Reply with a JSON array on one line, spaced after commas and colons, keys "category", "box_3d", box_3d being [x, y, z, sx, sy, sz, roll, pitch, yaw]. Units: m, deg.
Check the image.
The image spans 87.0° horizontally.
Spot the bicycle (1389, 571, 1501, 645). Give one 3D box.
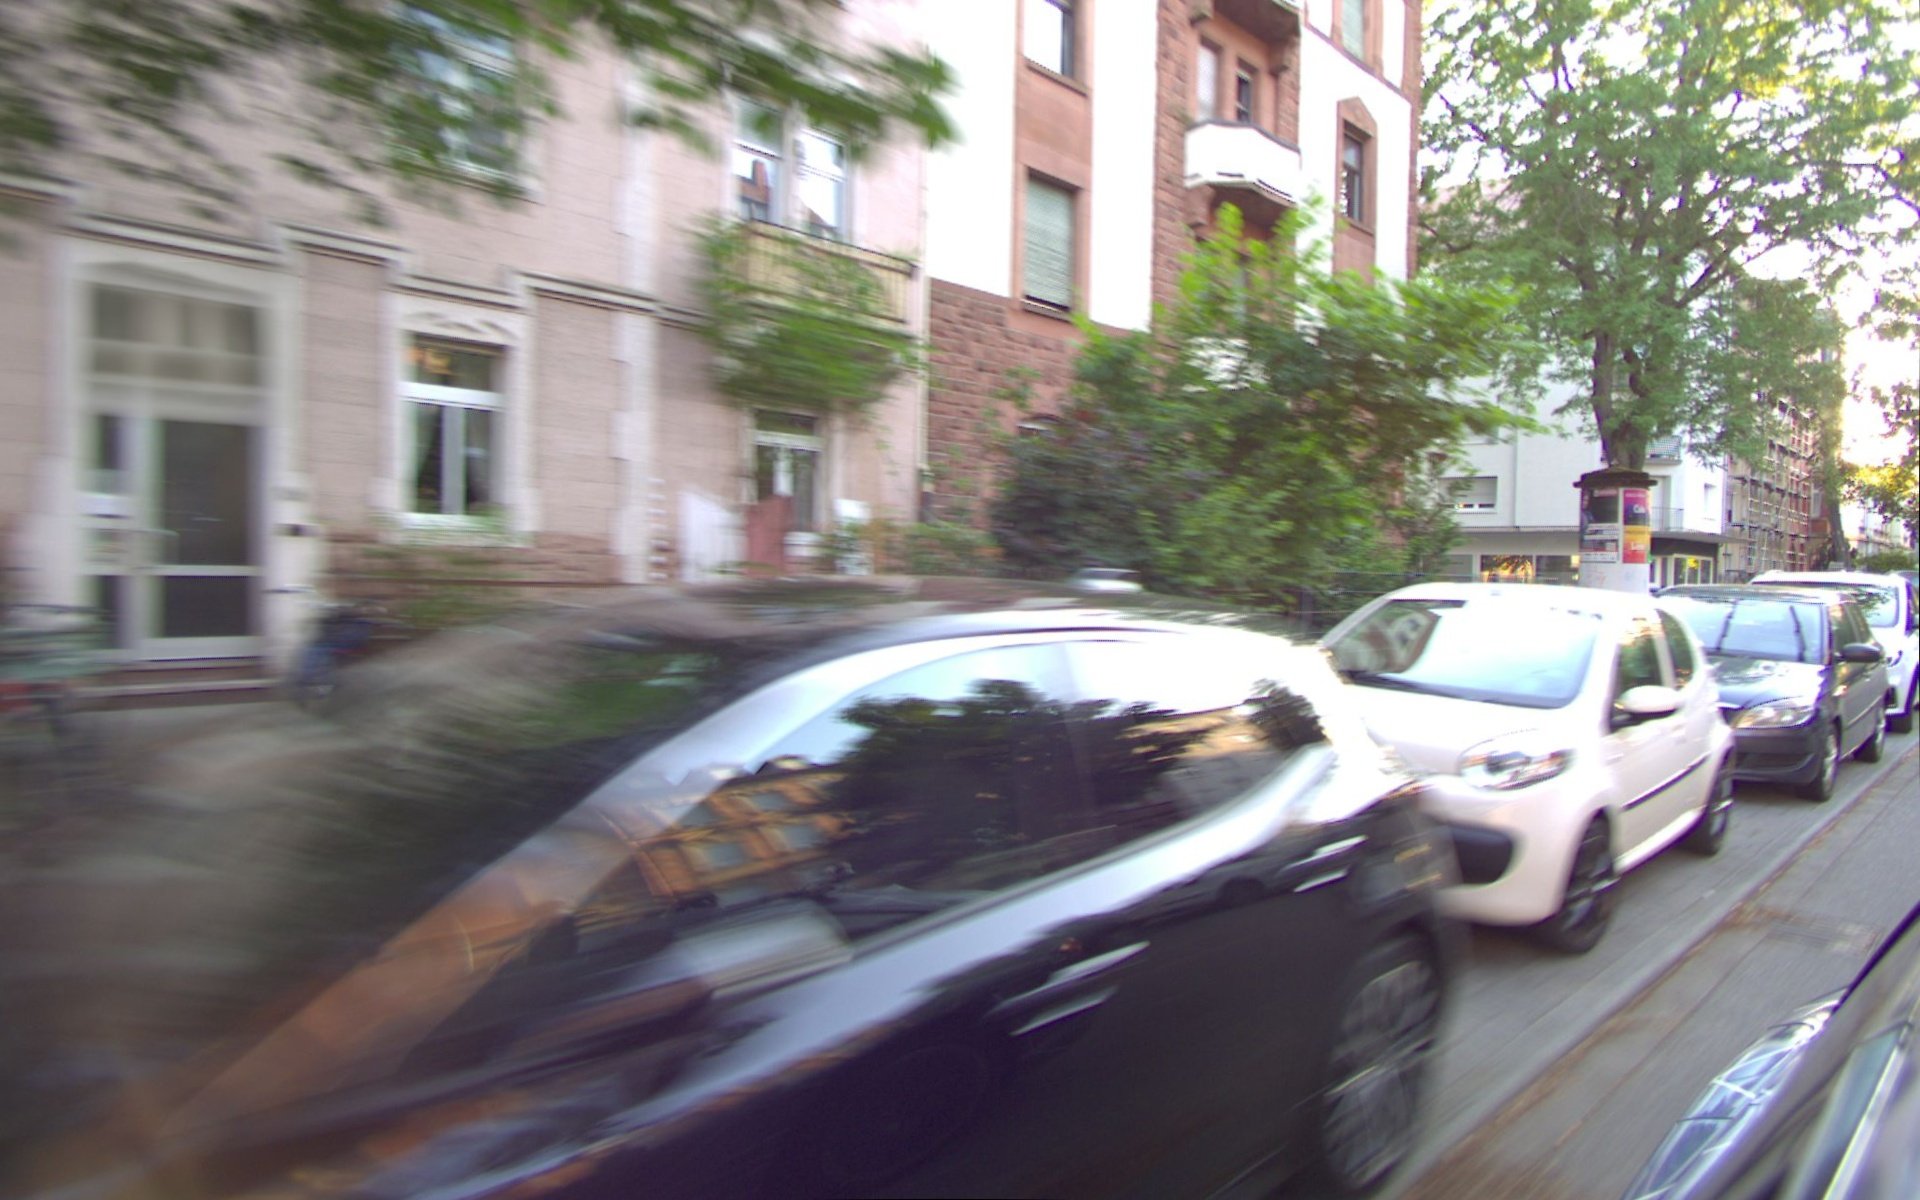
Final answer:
[{"category": "bicycle", "box_3d": [7.459, 0.111, 15.616, 0.325, 1.046, 1.512, 2, 2, -42]}]

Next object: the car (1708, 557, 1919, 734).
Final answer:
[{"category": "car", "box_3d": [10.539, 0.389, 12.091, 4.525, 1.732, 1.800, -1, 3, -44]}]

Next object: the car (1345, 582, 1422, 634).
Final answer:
[{"category": "car", "box_3d": [13.084, 0.190, 31.185, 1.668, 1.496, 3.394, 1, 1, 32]}]

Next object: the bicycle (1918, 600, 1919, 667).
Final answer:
[{"category": "bicycle", "box_3d": [17.746, 0.596, 17.864, 1.602, 1.187, 0.446, 0, 1, -16]}]

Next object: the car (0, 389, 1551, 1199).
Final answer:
[{"category": "car", "box_3d": [-0.486, 0.506, 2.098, 4.137, 1.458, 1.690, -1, 4, -41]}]

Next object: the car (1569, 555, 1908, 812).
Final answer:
[{"category": "car", "box_3d": [6.648, 0.476, 8.457, 4.141, 1.626, 1.688, -1, 2, -45]}]

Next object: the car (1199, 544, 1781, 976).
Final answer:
[{"category": "car", "box_3d": [3.131, 0.556, 5.663, 3.684, 1.626, 1.689, -1, 2, -42]}]

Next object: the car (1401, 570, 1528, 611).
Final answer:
[{"category": "car", "box_3d": [18.964, -0.379, 38.171, 4.193, 1.446, 1.642, 1, 2, 27]}]

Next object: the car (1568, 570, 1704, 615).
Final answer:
[{"category": "car", "box_3d": [23.762, -0.269, 35.737, 3.862, 1.526, 1.610, 1, 0, 29]}]
